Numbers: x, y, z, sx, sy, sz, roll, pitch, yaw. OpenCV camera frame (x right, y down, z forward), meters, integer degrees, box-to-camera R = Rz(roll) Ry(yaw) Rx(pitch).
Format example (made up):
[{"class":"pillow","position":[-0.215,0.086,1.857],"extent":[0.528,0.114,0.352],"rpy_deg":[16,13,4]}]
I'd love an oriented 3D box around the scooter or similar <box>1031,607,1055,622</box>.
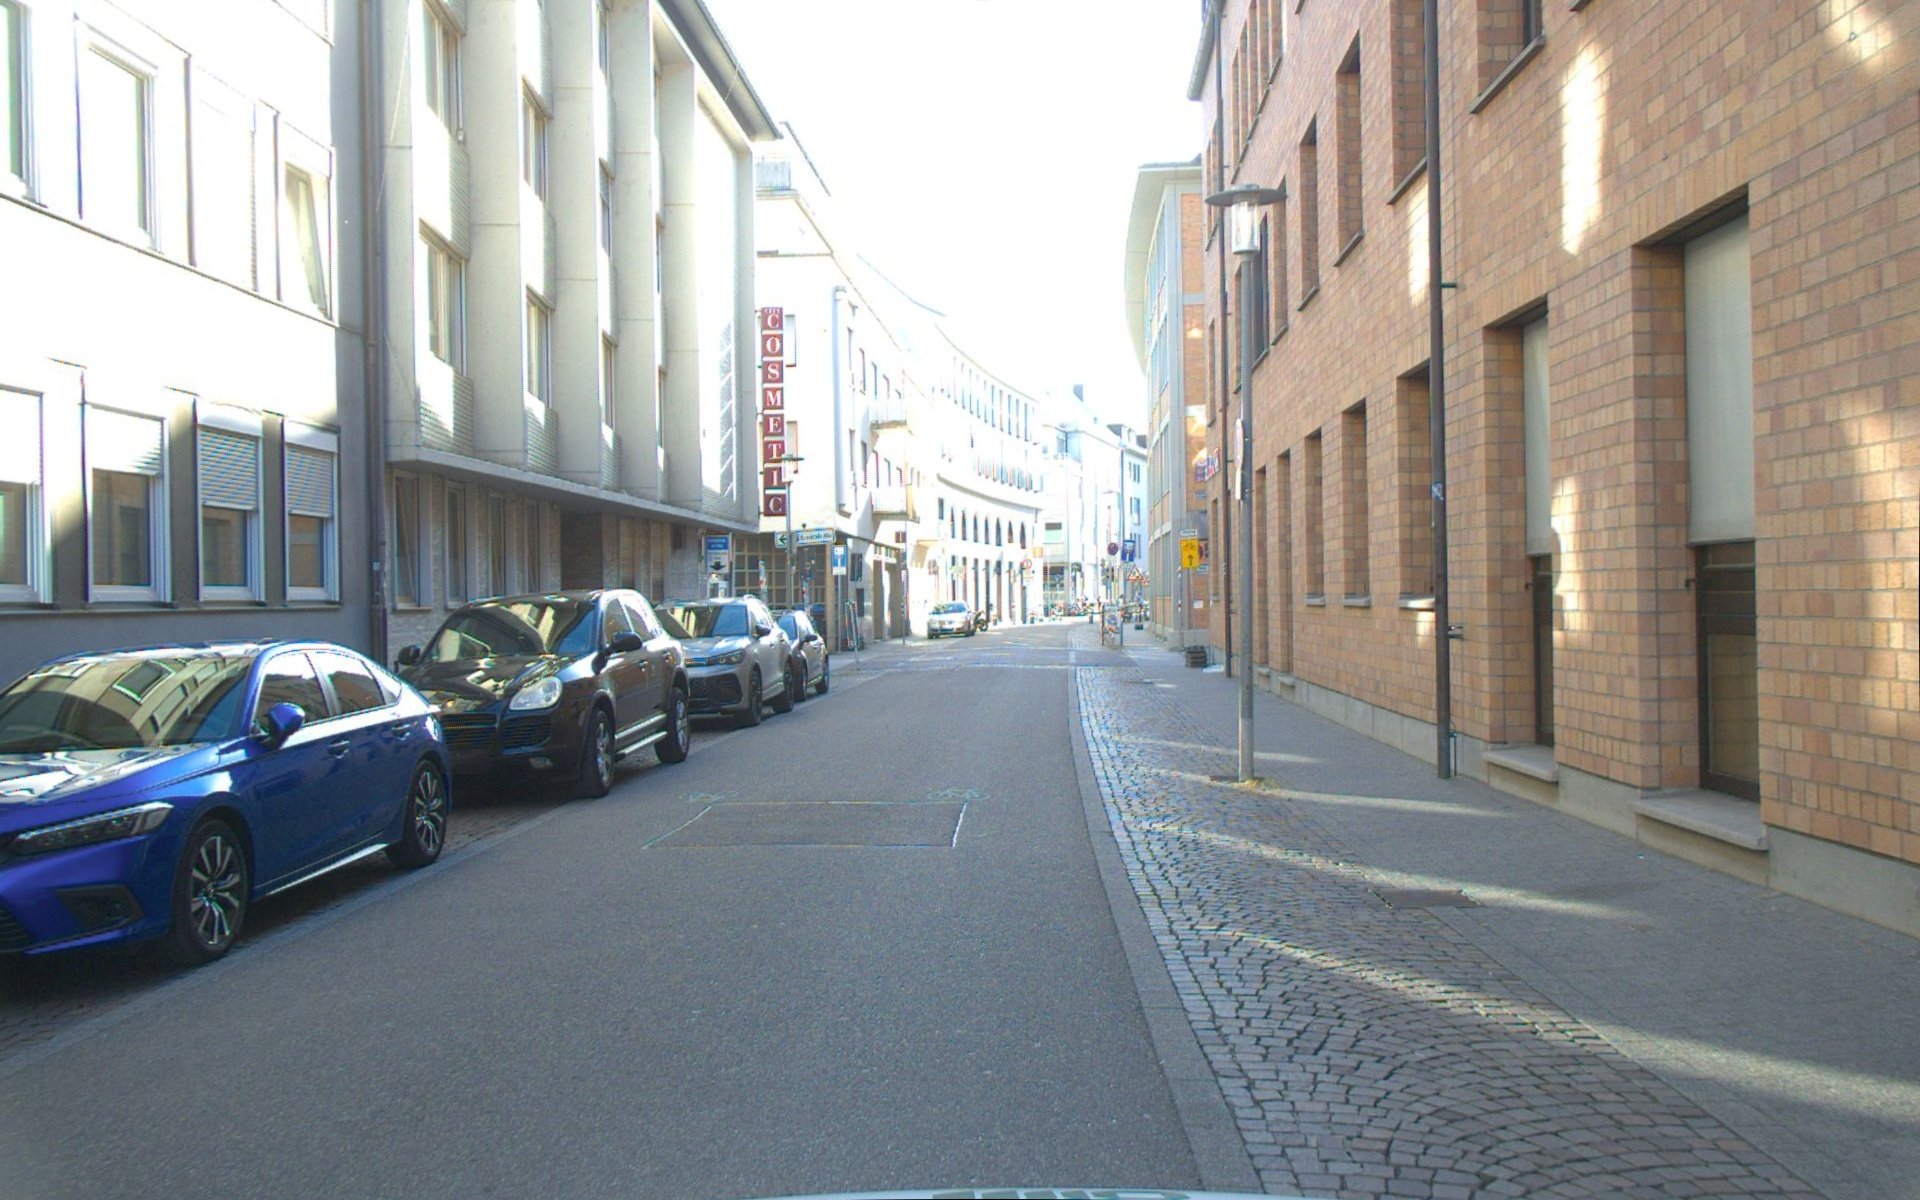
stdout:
[{"class":"scooter or similar","position":[5.555,0.973,110.494],"extent":[0.516,0.944,2.221],"rpy_deg":[0,0,33]}]

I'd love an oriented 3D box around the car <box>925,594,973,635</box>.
[{"class":"car","position":[-0.419,0.581,67.762],"extent":[1.700,1.634,3.534],"rpy_deg":[0,0,4]}]

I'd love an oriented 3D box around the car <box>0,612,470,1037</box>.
[{"class":"car","position":[-4.186,0.895,8.520],"extent":[1.850,1.557,4.341],"rpy_deg":[-1,0,2]}]

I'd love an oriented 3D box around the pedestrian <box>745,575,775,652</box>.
[{"class":"pedestrian","position":[-4.634,0.304,38.314],"extent":[0.439,1.769,0.552],"rpy_deg":[-1,0,26]}]

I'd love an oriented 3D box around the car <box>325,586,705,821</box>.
[{"class":"car","position":[-3.661,0.760,14.566],"extent":[1.850,1.705,4.555],"rpy_deg":[-1,0,3]}]

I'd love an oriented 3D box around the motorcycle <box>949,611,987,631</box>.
[{"class":"motorcycle","position":[0.349,0.954,75.105],"extent":[1.655,0.874,0.595],"rpy_deg":[1,-1,8]}]

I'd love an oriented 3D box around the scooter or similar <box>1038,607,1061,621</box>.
[{"class":"scooter or similar","position":[6.141,0.973,113.562],"extent":[0.516,0.944,2.221],"rpy_deg":[0,0,33]}]

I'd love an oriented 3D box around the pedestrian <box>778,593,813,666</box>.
[{"class":"pedestrian","position":[-3.755,0.669,37.779],"extent":[0.640,1.654,0.451],"rpy_deg":[-1,0,-38]}]

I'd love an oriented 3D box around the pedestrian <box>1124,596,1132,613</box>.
[{"class":"pedestrian","position":[14.417,0.412,141.831],"extent":[0.492,1.444,0.618],"rpy_deg":[0,0,-22]}]

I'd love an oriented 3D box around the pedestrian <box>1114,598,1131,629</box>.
[{"class":"pedestrian","position":[9.857,0.809,100.345],"extent":[0.651,1.901,0.779],"rpy_deg":[1,-1,-26]}]

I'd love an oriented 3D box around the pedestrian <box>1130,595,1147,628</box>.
[{"class":"pedestrian","position":[10.277,0.660,95.264],"extent":[0.651,1.901,0.754],"rpy_deg":[1,-1,-26]}]

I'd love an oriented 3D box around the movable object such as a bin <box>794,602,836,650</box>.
[{"class":"movable object such as a bin","position":[-4.462,0.790,50.855],"extent":[0.927,1.444,0.870],"rpy_deg":[2,-1,-43]}]

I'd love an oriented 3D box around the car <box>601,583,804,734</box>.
[{"class":"car","position":[-3.317,0.694,22.155],"extent":[1.851,1.772,4.392],"rpy_deg":[-1,0,2]}]

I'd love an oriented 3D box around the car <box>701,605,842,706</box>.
[{"class":"car","position":[-3.115,0.878,28.007],"extent":[1.614,1.486,4.001],"rpy_deg":[-3,0,4]}]

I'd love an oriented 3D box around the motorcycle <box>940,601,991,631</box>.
[{"class":"motorcycle","position":[0.259,0.740,79.050],"extent":[2.340,1.340,0.862],"rpy_deg":[-2,0,3]}]
